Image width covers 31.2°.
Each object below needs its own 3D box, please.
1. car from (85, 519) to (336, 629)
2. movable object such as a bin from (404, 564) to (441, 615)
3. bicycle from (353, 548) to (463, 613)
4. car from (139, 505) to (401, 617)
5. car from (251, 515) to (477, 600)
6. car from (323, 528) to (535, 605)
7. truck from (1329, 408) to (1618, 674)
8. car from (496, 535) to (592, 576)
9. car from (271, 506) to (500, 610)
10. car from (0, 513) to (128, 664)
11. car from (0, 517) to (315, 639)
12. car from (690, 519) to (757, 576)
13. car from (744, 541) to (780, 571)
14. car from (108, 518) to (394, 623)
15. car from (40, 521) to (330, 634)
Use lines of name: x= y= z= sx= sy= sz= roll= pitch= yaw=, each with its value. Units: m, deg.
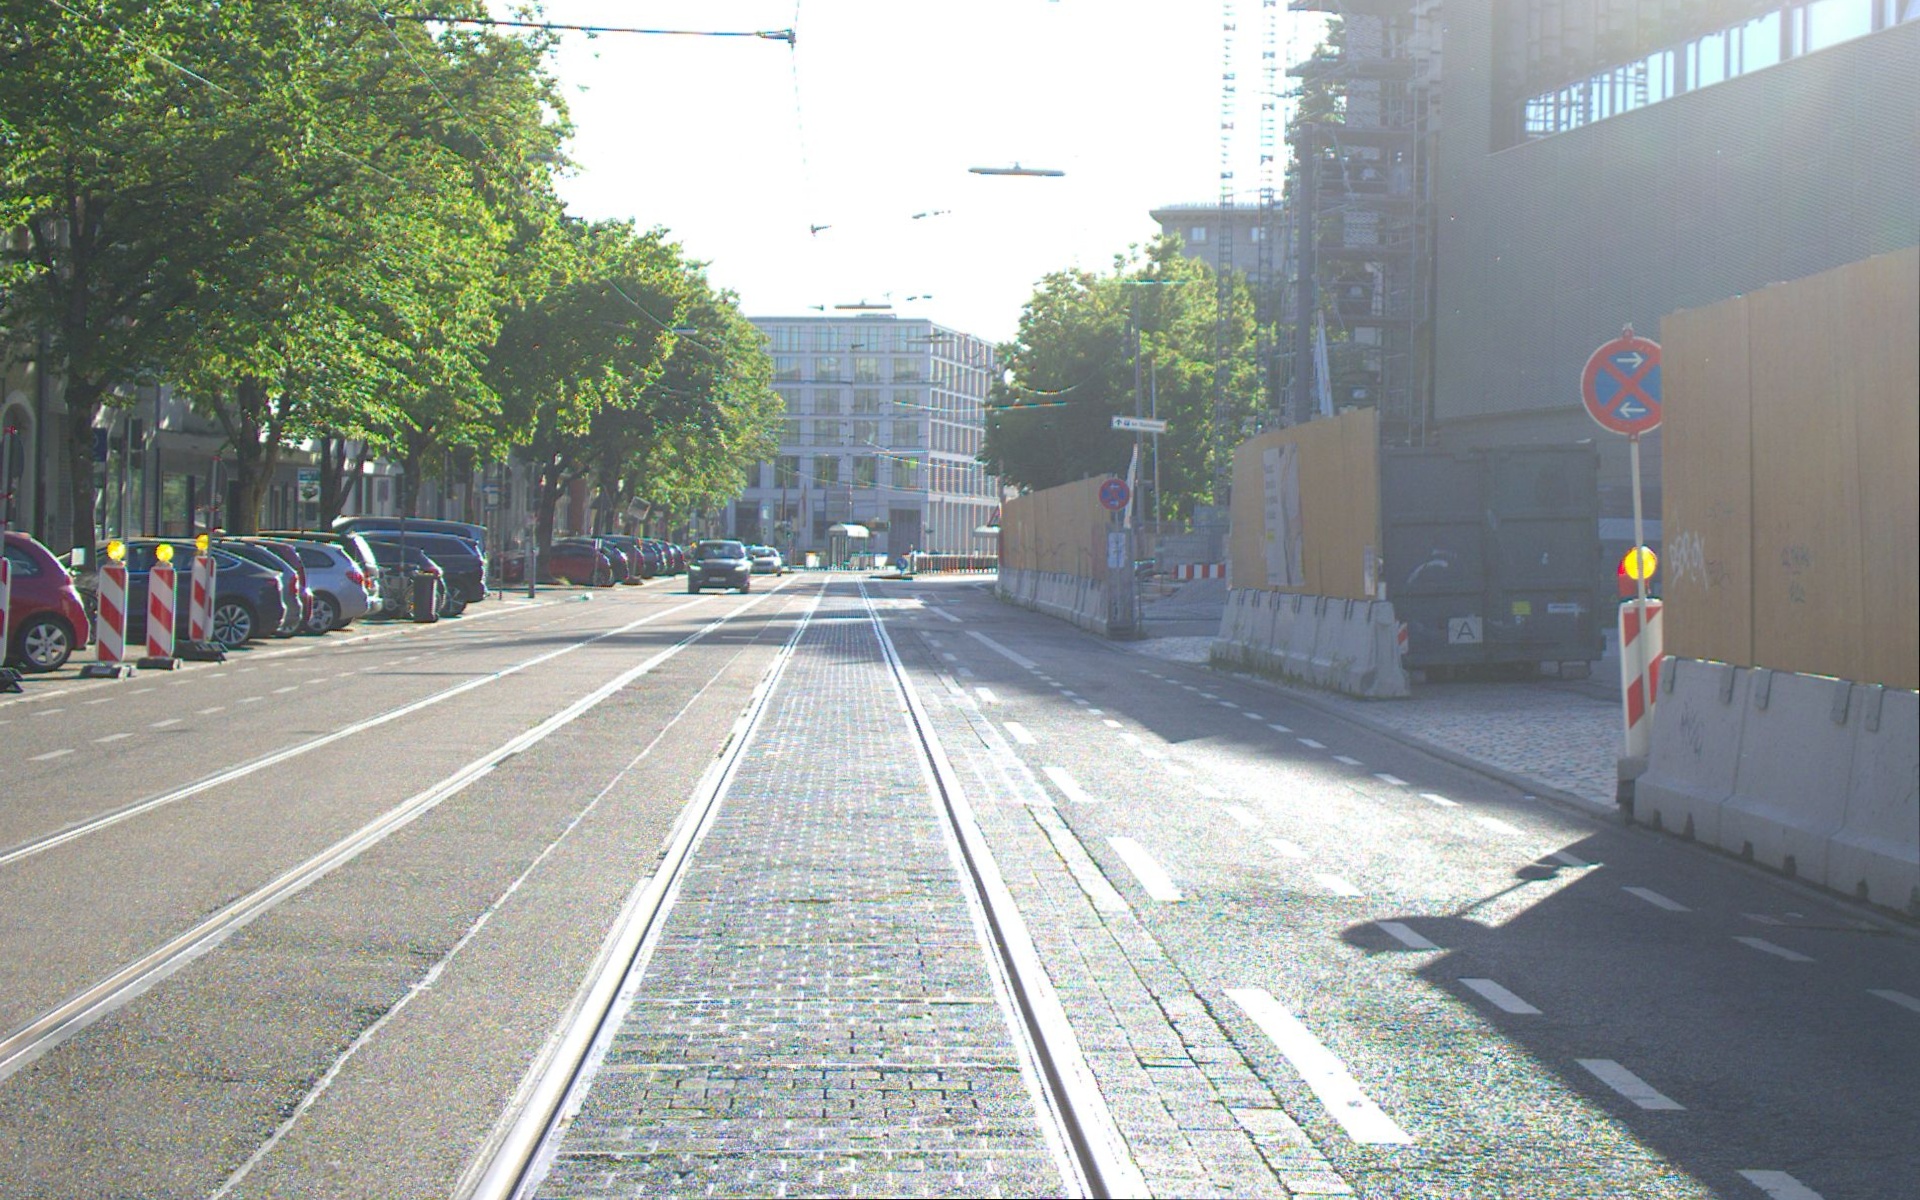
car: x=-11.445 y=-0.395 z=52.495 sx=3.362 sy=1.488 sz=1.613 roll=2 pitch=1 yaw=-30
movable object such as a bin: x=-10.148 y=-0.203 z=64.906 sx=0.575 sy=0.910 sz=0.575 roll=2 pitch=2 yaw=-18
bicycle: x=-10.524 y=-0.371 z=65.551 sx=1.965 sy=1.140 sz=0.493 roll=2 pitch=0 yaw=-20
car: x=-11.770 y=-0.671 z=58.849 sx=4.103 sy=1.672 sz=1.841 roll=3 pitch=1 yaw=-4
car: x=-12.109 y=-0.866 z=69.858 sx=4.234 sy=1.679 sz=1.811 roll=0 pitch=1 yaw=-22
car: x=-10.444 y=-0.669 z=67.555 sx=3.855 sy=1.471 sz=1.844 roll=0 pitch=1 yaw=-19
truck: x=6.059 y=-0.713 z=41.301 sx=2.519 sy=2.899 sz=5.507 roll=-2 pitch=1 yaw=0
car: x=-13.884 y=-1.492 z=114.815 sx=2.933 sy=1.327 sz=1.216 roll=-1 pitch=1 yaw=-29
car: x=-12.137 y=-0.891 z=72.595 sx=4.353 sy=1.980 sz=1.950 roll=2 pitch=1 yaw=-23
car: x=-11.085 y=-0.173 z=37.380 sx=3.612 sy=1.548 sz=1.669 roll=2 pitch=2 yaw=-28
car: x=-11.187 y=-0.304 z=47.051 sx=4.188 sy=1.486 sz=1.944 roll=2 pitch=1 yaw=-28
car: x=-7.348 y=-1.656 z=106.933 sx=1.927 sy=1.624 sz=4.250 roll=-2 pitch=2 yaw=-3
car: x=-9.687 y=-2.157 z=168.068 sx=1.709 sy=1.431 sz=4.172 roll=1 pitch=1 yaw=-3
car: x=-11.417 y=-0.474 z=55.397 sx=4.103 sy=1.507 sz=1.841 roll=2 pitch=1 yaw=-28
car: x=-11.184 y=-0.322 z=49.649 sx=3.672 sy=1.465 sz=1.753 roll=2 pitch=0 yaw=-30
